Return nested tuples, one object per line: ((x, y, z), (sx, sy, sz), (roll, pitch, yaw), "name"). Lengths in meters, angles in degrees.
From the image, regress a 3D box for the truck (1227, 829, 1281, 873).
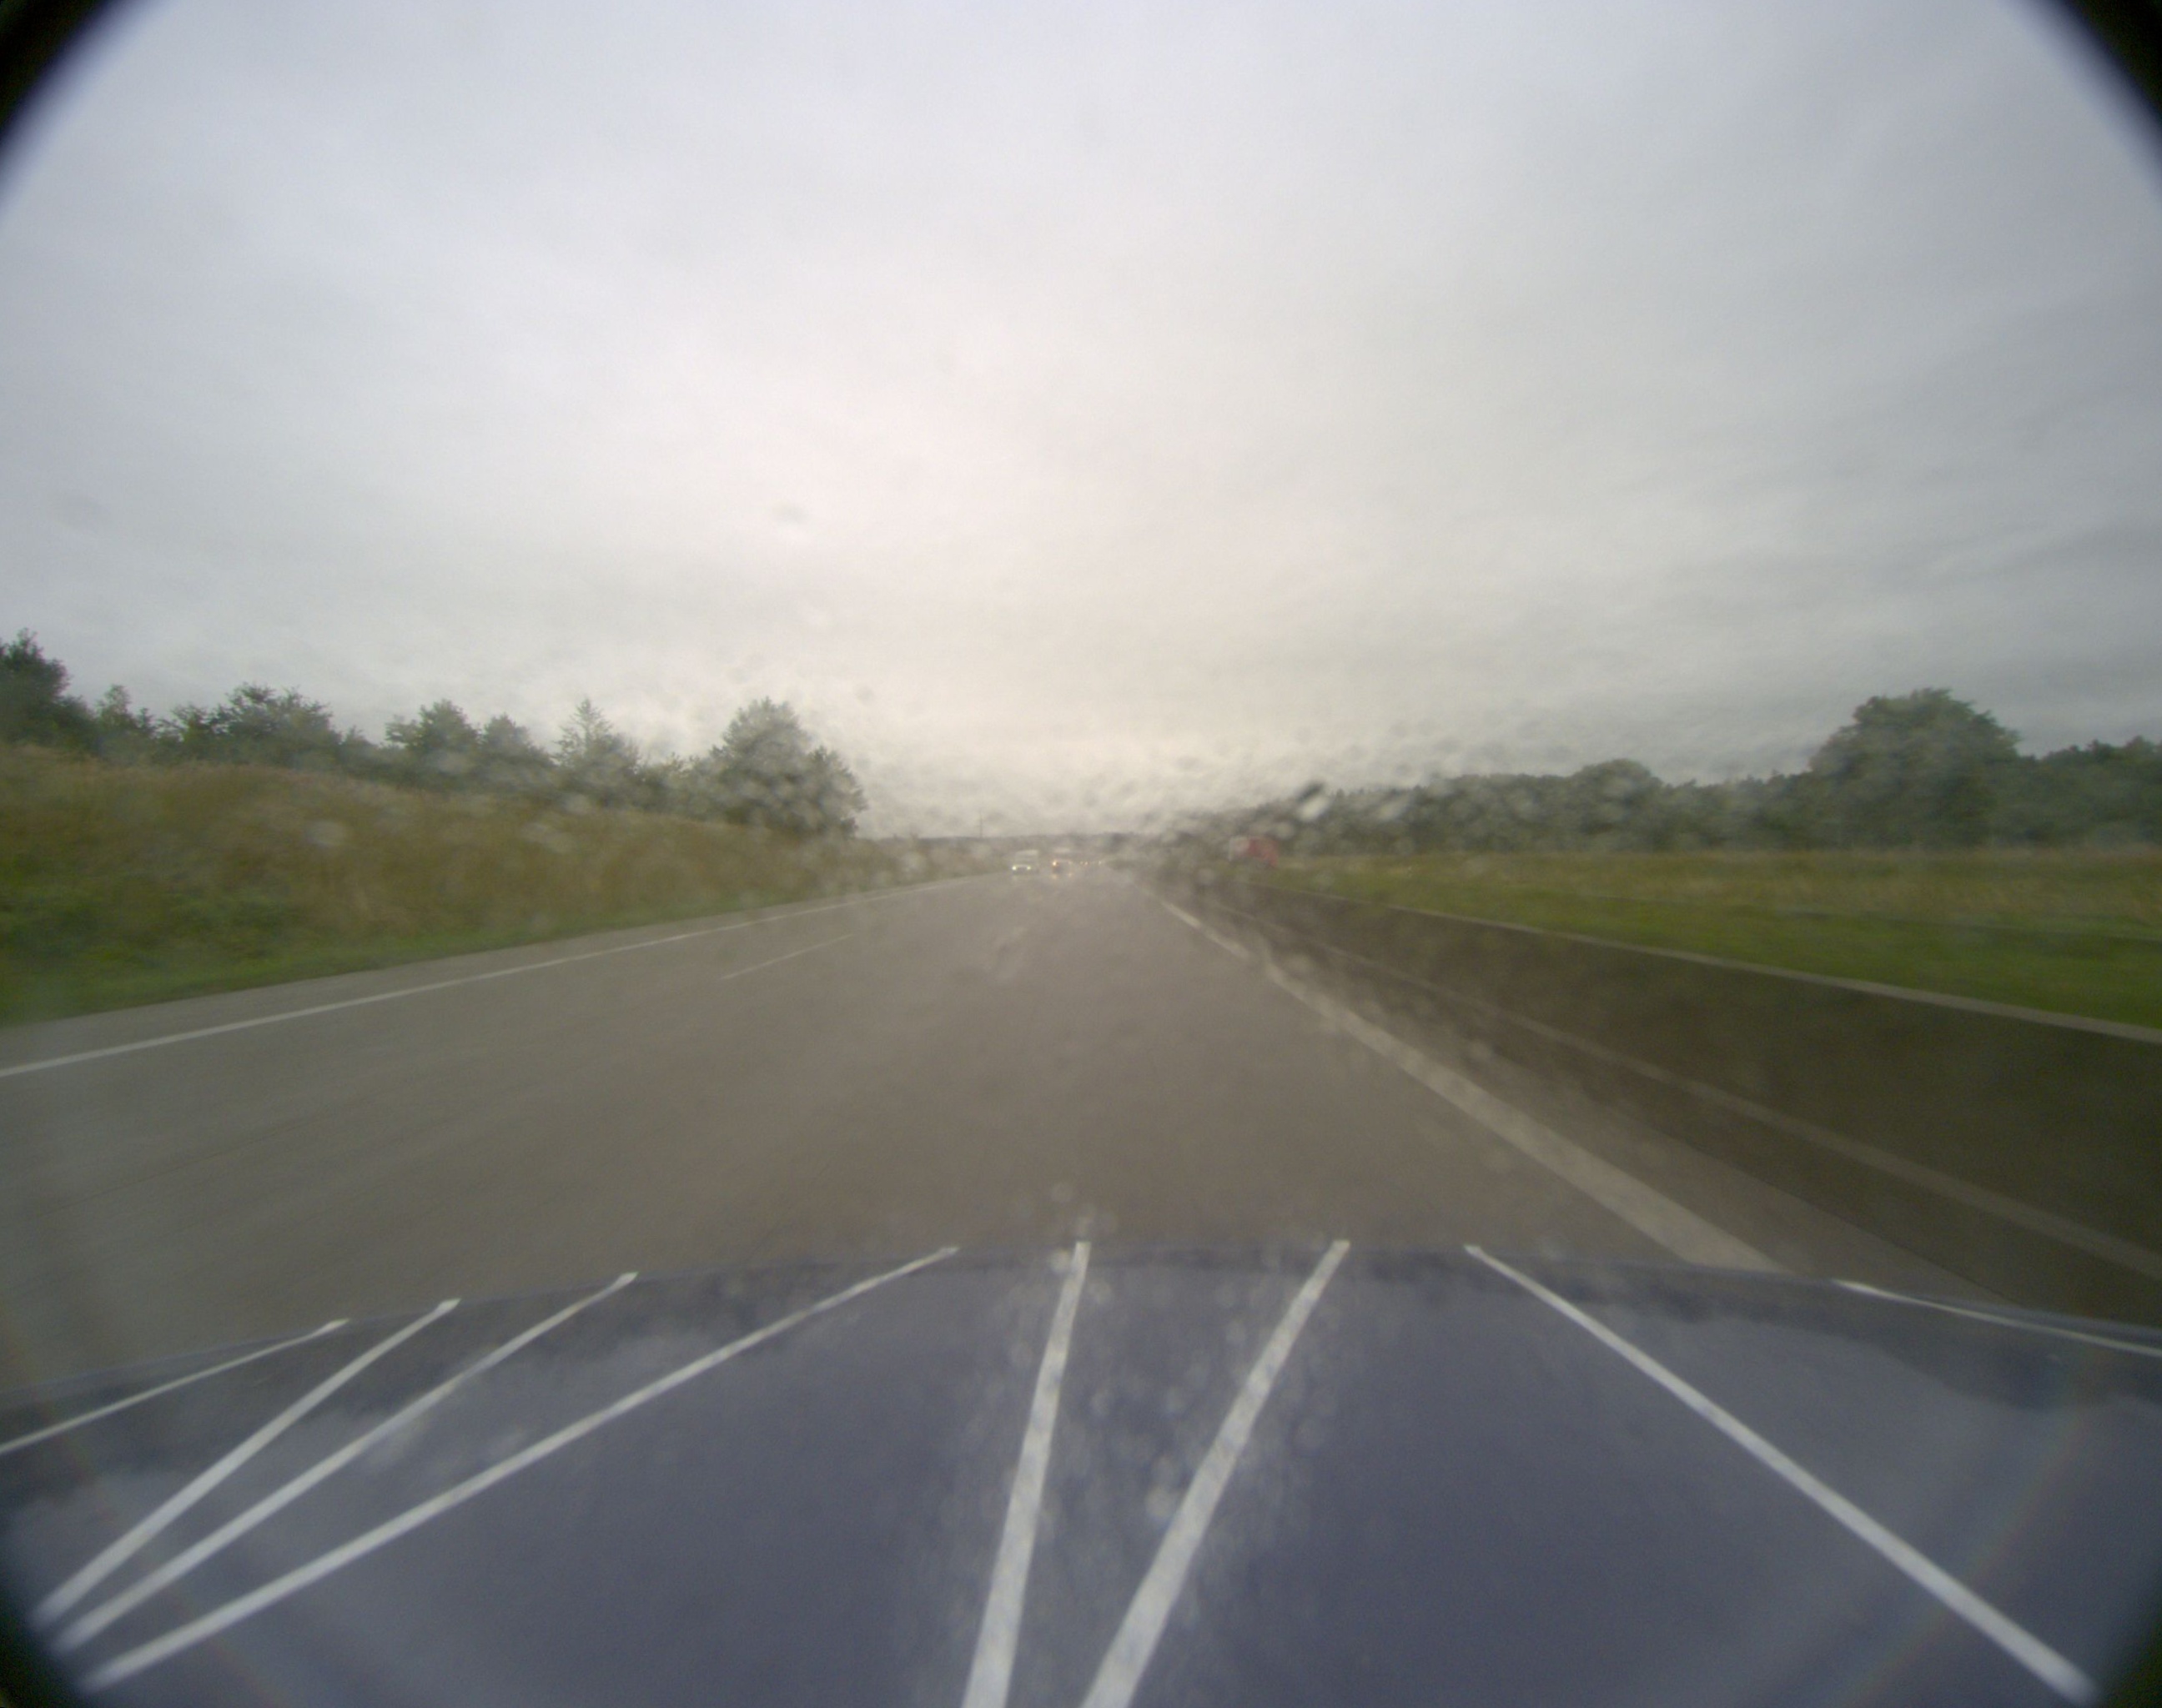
((17.789, -0.451, 79.114), (2.761, 4.183, 13.100), (0, 2, 1), "truck")

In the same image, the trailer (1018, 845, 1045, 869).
((-5.262, 0.300, 81.981), (2.348, 2.445, 5.938), (0, 1, 1), "trailer")

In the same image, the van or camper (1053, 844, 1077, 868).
((-1.707, 0.224, 83.405), (2.233, 2.537, 7.950), (0, 0, 1), "van or camper")

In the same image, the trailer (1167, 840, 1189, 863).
((20.262, -0.508, 159.088), (3.236, 4.315, 13.554), (-2, 0, 2), "trailer")

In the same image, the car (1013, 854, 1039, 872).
((-5.424, 0.896, 76.028), (1.998, 1.576, 5.953), (-2, 1, 1), "car")

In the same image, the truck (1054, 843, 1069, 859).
((-3.856, -0.627, 152.623), (2.496, 3.197, 7.071), (-1, 0, 2), "truck")
